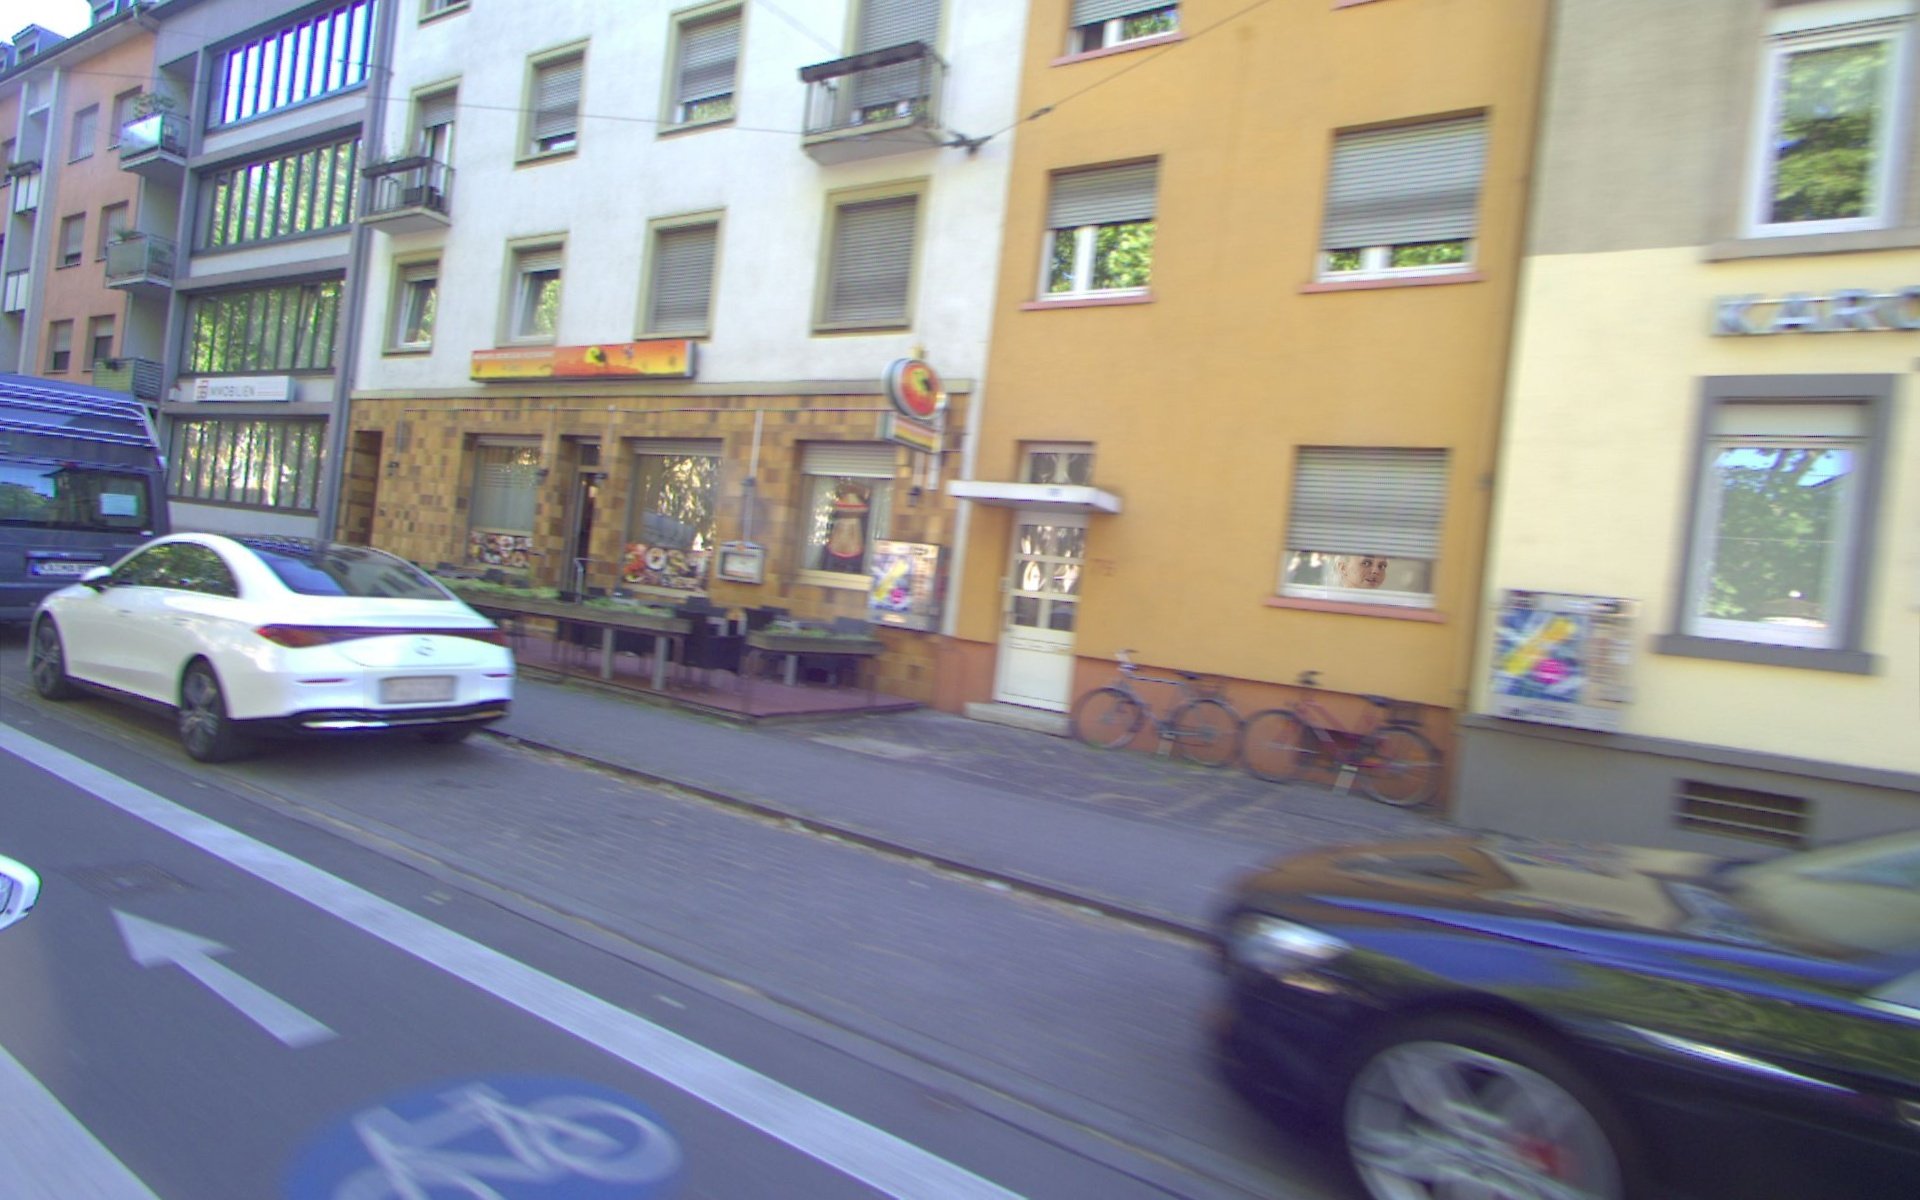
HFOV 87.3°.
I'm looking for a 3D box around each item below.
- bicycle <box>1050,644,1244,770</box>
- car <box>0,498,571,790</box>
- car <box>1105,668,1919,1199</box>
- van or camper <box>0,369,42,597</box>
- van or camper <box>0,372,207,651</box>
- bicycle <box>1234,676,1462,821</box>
[{"bbox_3d":[1.895,1.071,10.358,1.827,1.009,0.427,7,-1,32],"label":"bicycle"},{"bbox_3d":[-5.464,0.182,7.952,4.662,1.513,1.994,7,1,32],"label":"car"},{"bbox_3d":[2.984,1.191,2.618,4.661,1.398,1.995,7,1,31],"label":"car"},{"bbox_3d":[-16.280,-1.947,14.735,6.164,3.104,2.463,7,2,32],"label":"van or camper"},{"bbox_3d":[-11.101,-1.054,11.567,4.897,2.698,2.133,7,2,31],"label":"van or camper"},{"bbox_3d":[3.560,1.334,9.318,1.827,1.009,0.427,7,-1,32],"label":"bicycle"}]
